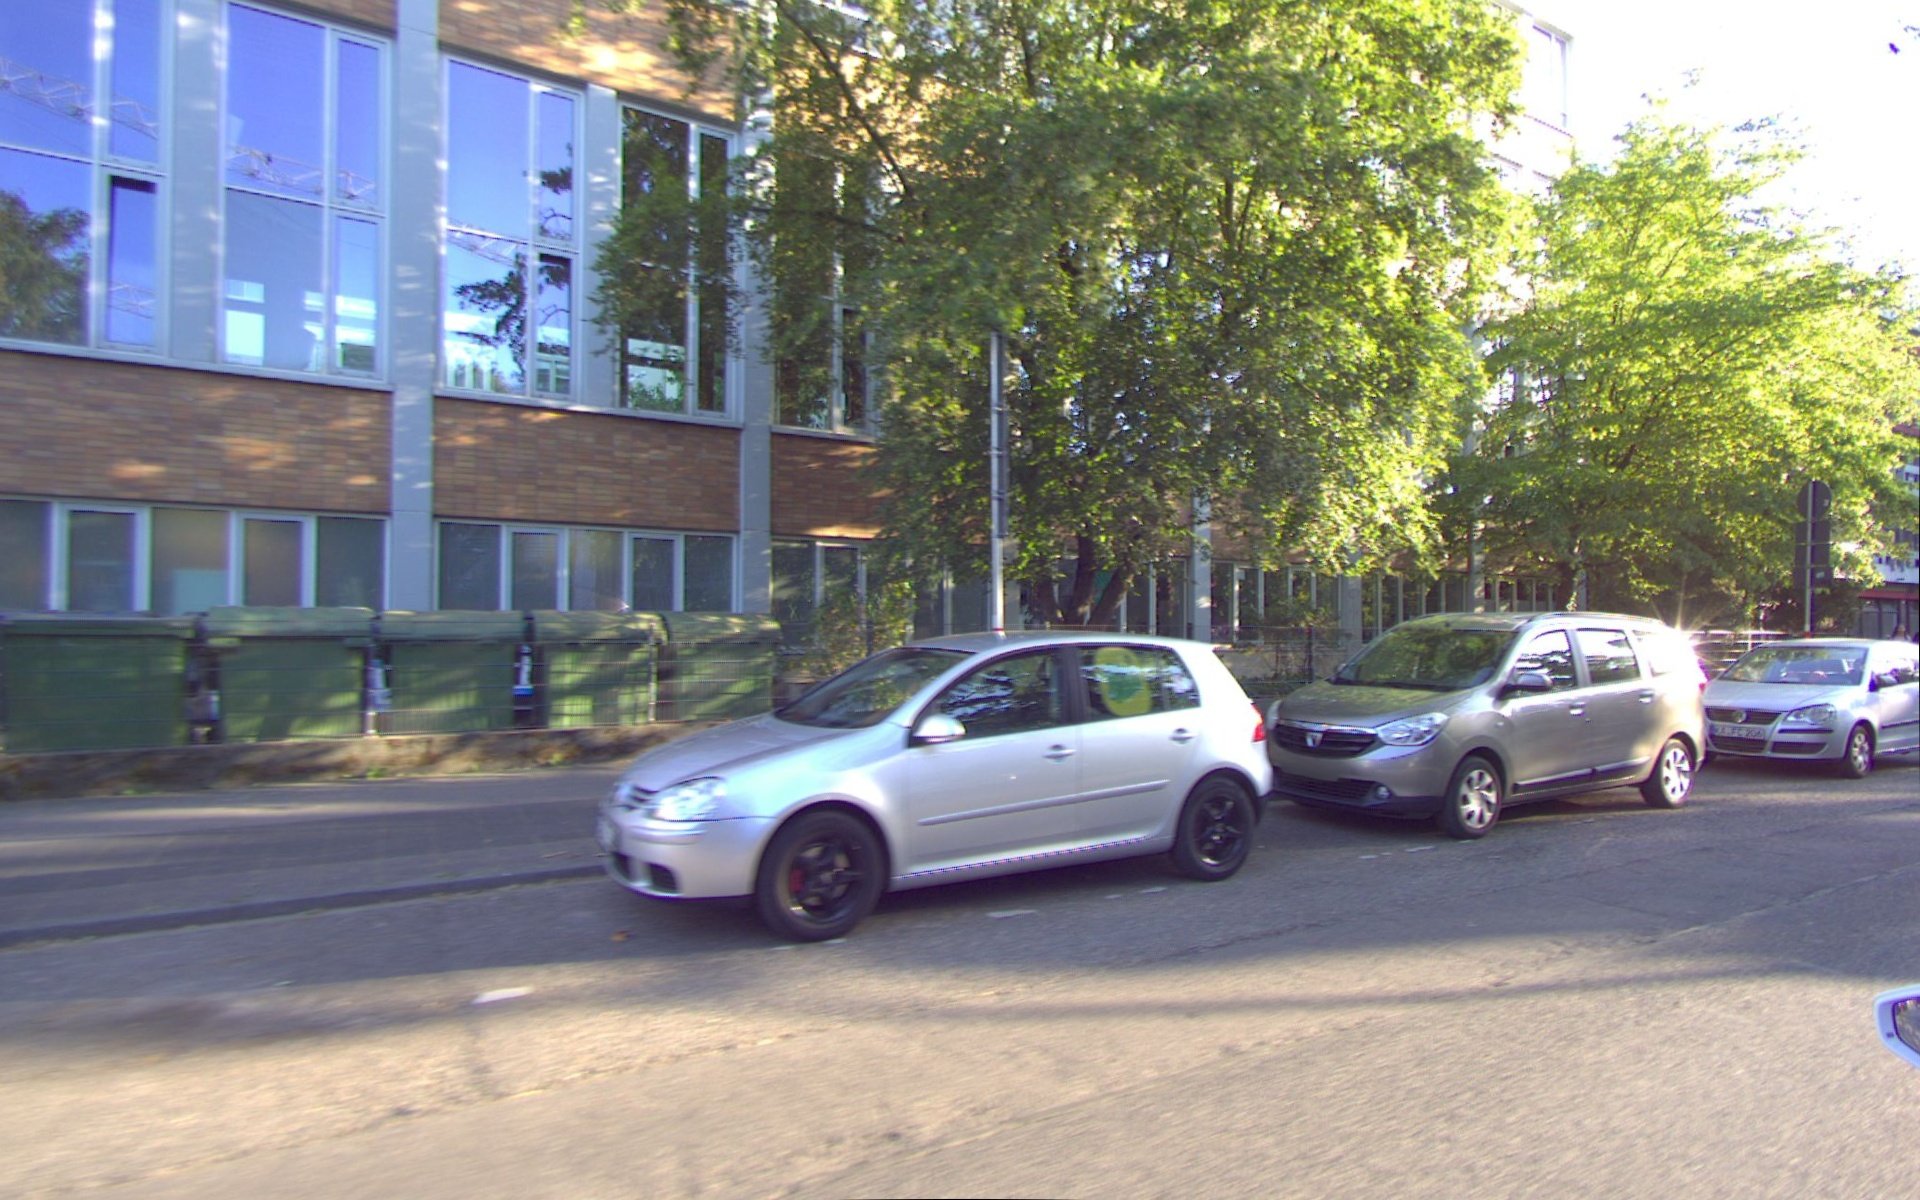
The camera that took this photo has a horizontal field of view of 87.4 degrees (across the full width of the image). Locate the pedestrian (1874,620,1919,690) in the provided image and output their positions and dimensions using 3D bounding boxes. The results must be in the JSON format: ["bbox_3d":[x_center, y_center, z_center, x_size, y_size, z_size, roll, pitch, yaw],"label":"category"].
[{"bbox_3d":[22.992,1.337,24.501,0.702,1.684,0.707,0,-2,-5],"label":"pedestrian"}]

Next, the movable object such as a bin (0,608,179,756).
[{"bbox_3d":[-9.239,0.818,10.477,1.499,1.449,1.095,1,-1,-27],"label":"movable object such as a bin"}]

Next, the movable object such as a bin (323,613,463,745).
[{"bbox_3d":[-6.617,0.888,11.821,1.354,1.449,1.095,1,-1,-26],"label":"movable object such as a bin"}]

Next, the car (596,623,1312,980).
[{"bbox_3d":[0.047,0.922,6.035,4.012,1.513,1.664,1,-3,-30],"label":"car"}]

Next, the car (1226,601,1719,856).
[{"bbox_3d":[4.480,0.929,8.635,4.288,1.731,1.672,1,-3,-30],"label":"car"}]

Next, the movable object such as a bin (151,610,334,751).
[{"bbox_3d":[-7.895,0.854,11.161,1.466,1.449,1.095,1,-1,-27],"label":"movable object such as a bin"}]

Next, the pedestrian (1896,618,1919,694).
[{"bbox_3d":[23.879,1.377,24.675,0.807,1.848,0.956,0,-2,-6],"label":"pedestrian"}]

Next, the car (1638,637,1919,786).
[{"bbox_3d":[9.952,1.197,11.818,3.833,1.476,1.673,1,-3,-29],"label":"car"}]
